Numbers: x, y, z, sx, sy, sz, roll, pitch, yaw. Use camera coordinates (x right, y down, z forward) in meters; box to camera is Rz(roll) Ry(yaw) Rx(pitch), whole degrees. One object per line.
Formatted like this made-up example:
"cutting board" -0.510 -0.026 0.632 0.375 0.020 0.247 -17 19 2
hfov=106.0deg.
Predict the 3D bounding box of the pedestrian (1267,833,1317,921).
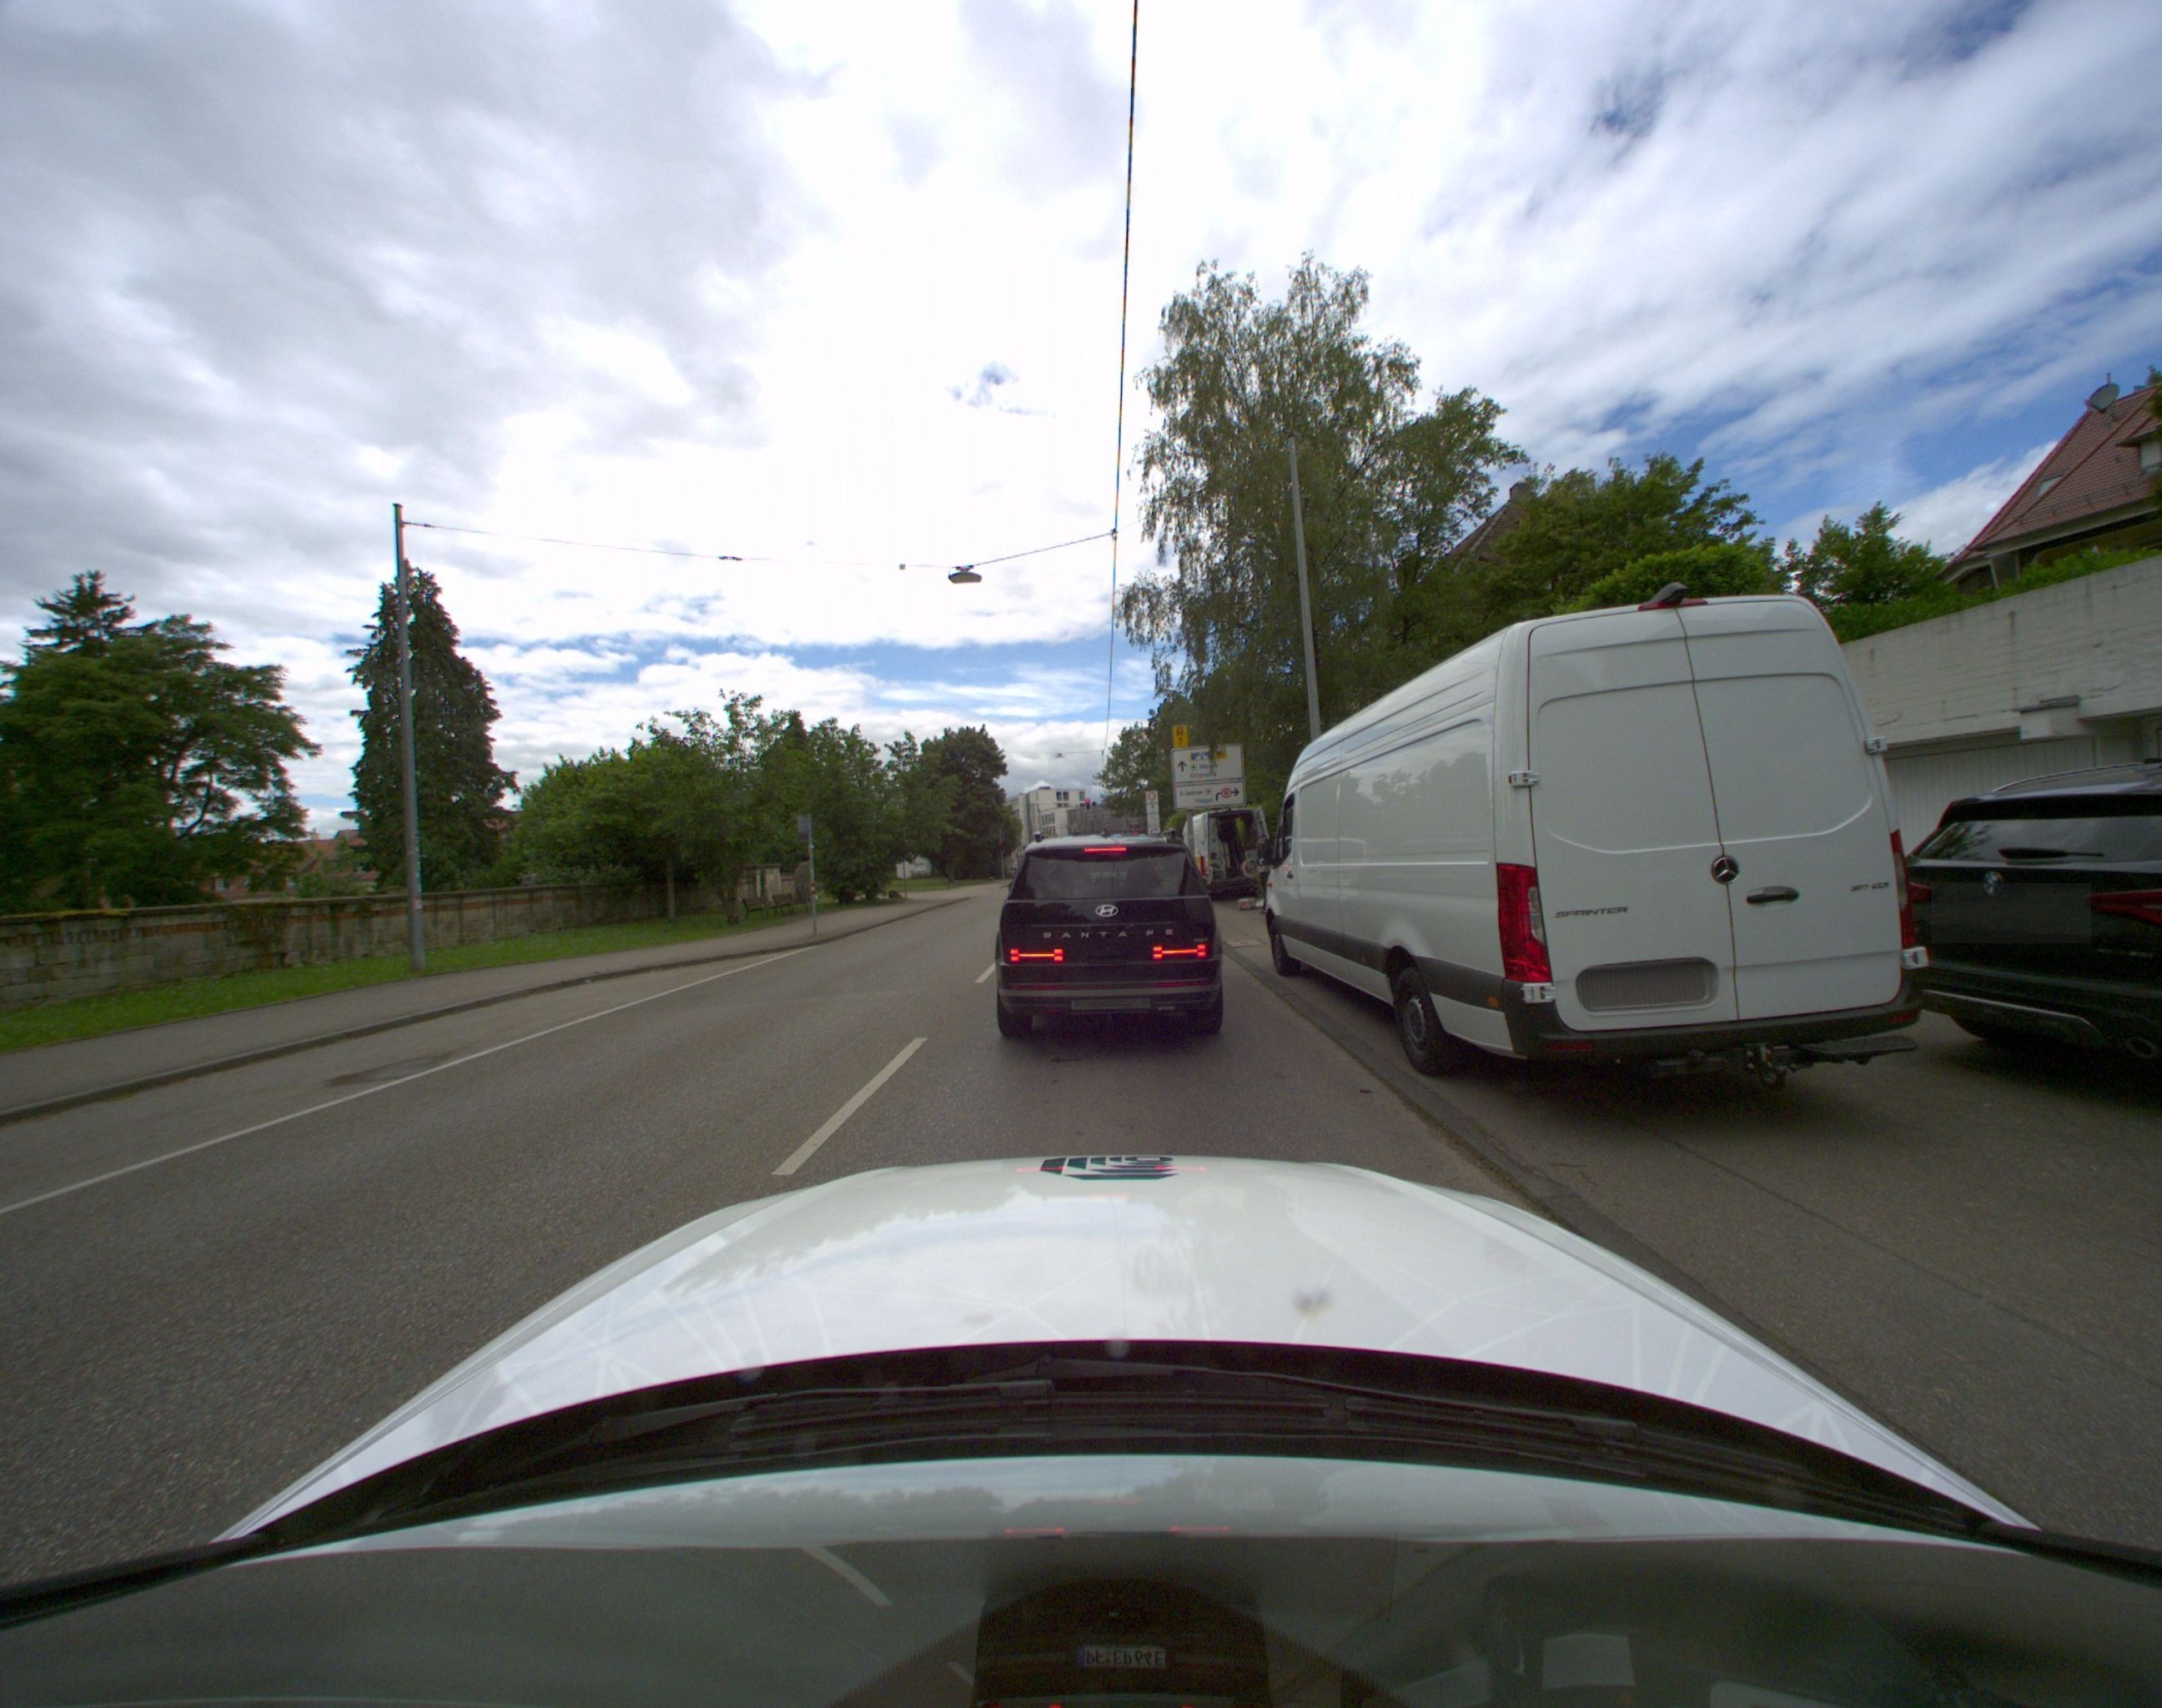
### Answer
"pedestrian" 4.120 0.445 15.968 0.732 1.643 0.803 -4 -1 8

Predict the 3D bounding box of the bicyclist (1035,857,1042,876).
"bicyclist" -3.760 1.111 72.014 0.486 1.684 0.588 0 -1 1

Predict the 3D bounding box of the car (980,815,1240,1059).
"car" 0.271 0.623 7.948 1.890 1.776 3.995 0 -1 2

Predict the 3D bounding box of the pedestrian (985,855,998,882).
"pedestrian" -6.877 1.125 62.602 0.826 2.014 1.048 0 -1 4

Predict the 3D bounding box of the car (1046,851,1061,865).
"car" -4.877 0.643 144.616 2.328 2.315 4.950 -3 0 -4

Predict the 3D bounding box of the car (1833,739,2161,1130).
"car" 6.800 0.208 4.069 4.365 1.675 1.696 -4 -1 2

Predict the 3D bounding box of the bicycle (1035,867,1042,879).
"bicycle" -3.753 1.687 72.107 0.493 0.964 1.749 0 -1 2

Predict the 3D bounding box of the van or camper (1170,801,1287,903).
"van or camper" 4.349 0.011 25.305 2.332 2.494 6.603 -6 -1 1

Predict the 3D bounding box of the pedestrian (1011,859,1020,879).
"pedestrian" -5.870 1.335 73.025 0.766 1.748 0.902 -2 -1 -6

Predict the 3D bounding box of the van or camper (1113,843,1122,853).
"van or camper" 7.708 -1.218 172.576 1.791 1.999 3.821 0 -1 -2

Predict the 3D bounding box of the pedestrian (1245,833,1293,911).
"pedestrian" 4.234 0.402 18.372 0.743 1.721 0.796 -1 -1 42

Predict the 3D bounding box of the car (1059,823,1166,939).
"car" 0.624 0.492 16.447 1.890 2.042 3.995 0 -1 2

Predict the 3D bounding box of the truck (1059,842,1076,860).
"truck" -3.133 -0.698 187.454 3.101 3.859 9.607 -3 0 -4

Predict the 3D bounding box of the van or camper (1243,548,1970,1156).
"van or camper" 3.071 0.013 7.047 1.984 2.625 6.546 -6 -1 2

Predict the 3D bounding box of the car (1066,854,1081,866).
"car" -0.963 0.840 111.251 1.750 1.403 4.416 -6 -1 2
